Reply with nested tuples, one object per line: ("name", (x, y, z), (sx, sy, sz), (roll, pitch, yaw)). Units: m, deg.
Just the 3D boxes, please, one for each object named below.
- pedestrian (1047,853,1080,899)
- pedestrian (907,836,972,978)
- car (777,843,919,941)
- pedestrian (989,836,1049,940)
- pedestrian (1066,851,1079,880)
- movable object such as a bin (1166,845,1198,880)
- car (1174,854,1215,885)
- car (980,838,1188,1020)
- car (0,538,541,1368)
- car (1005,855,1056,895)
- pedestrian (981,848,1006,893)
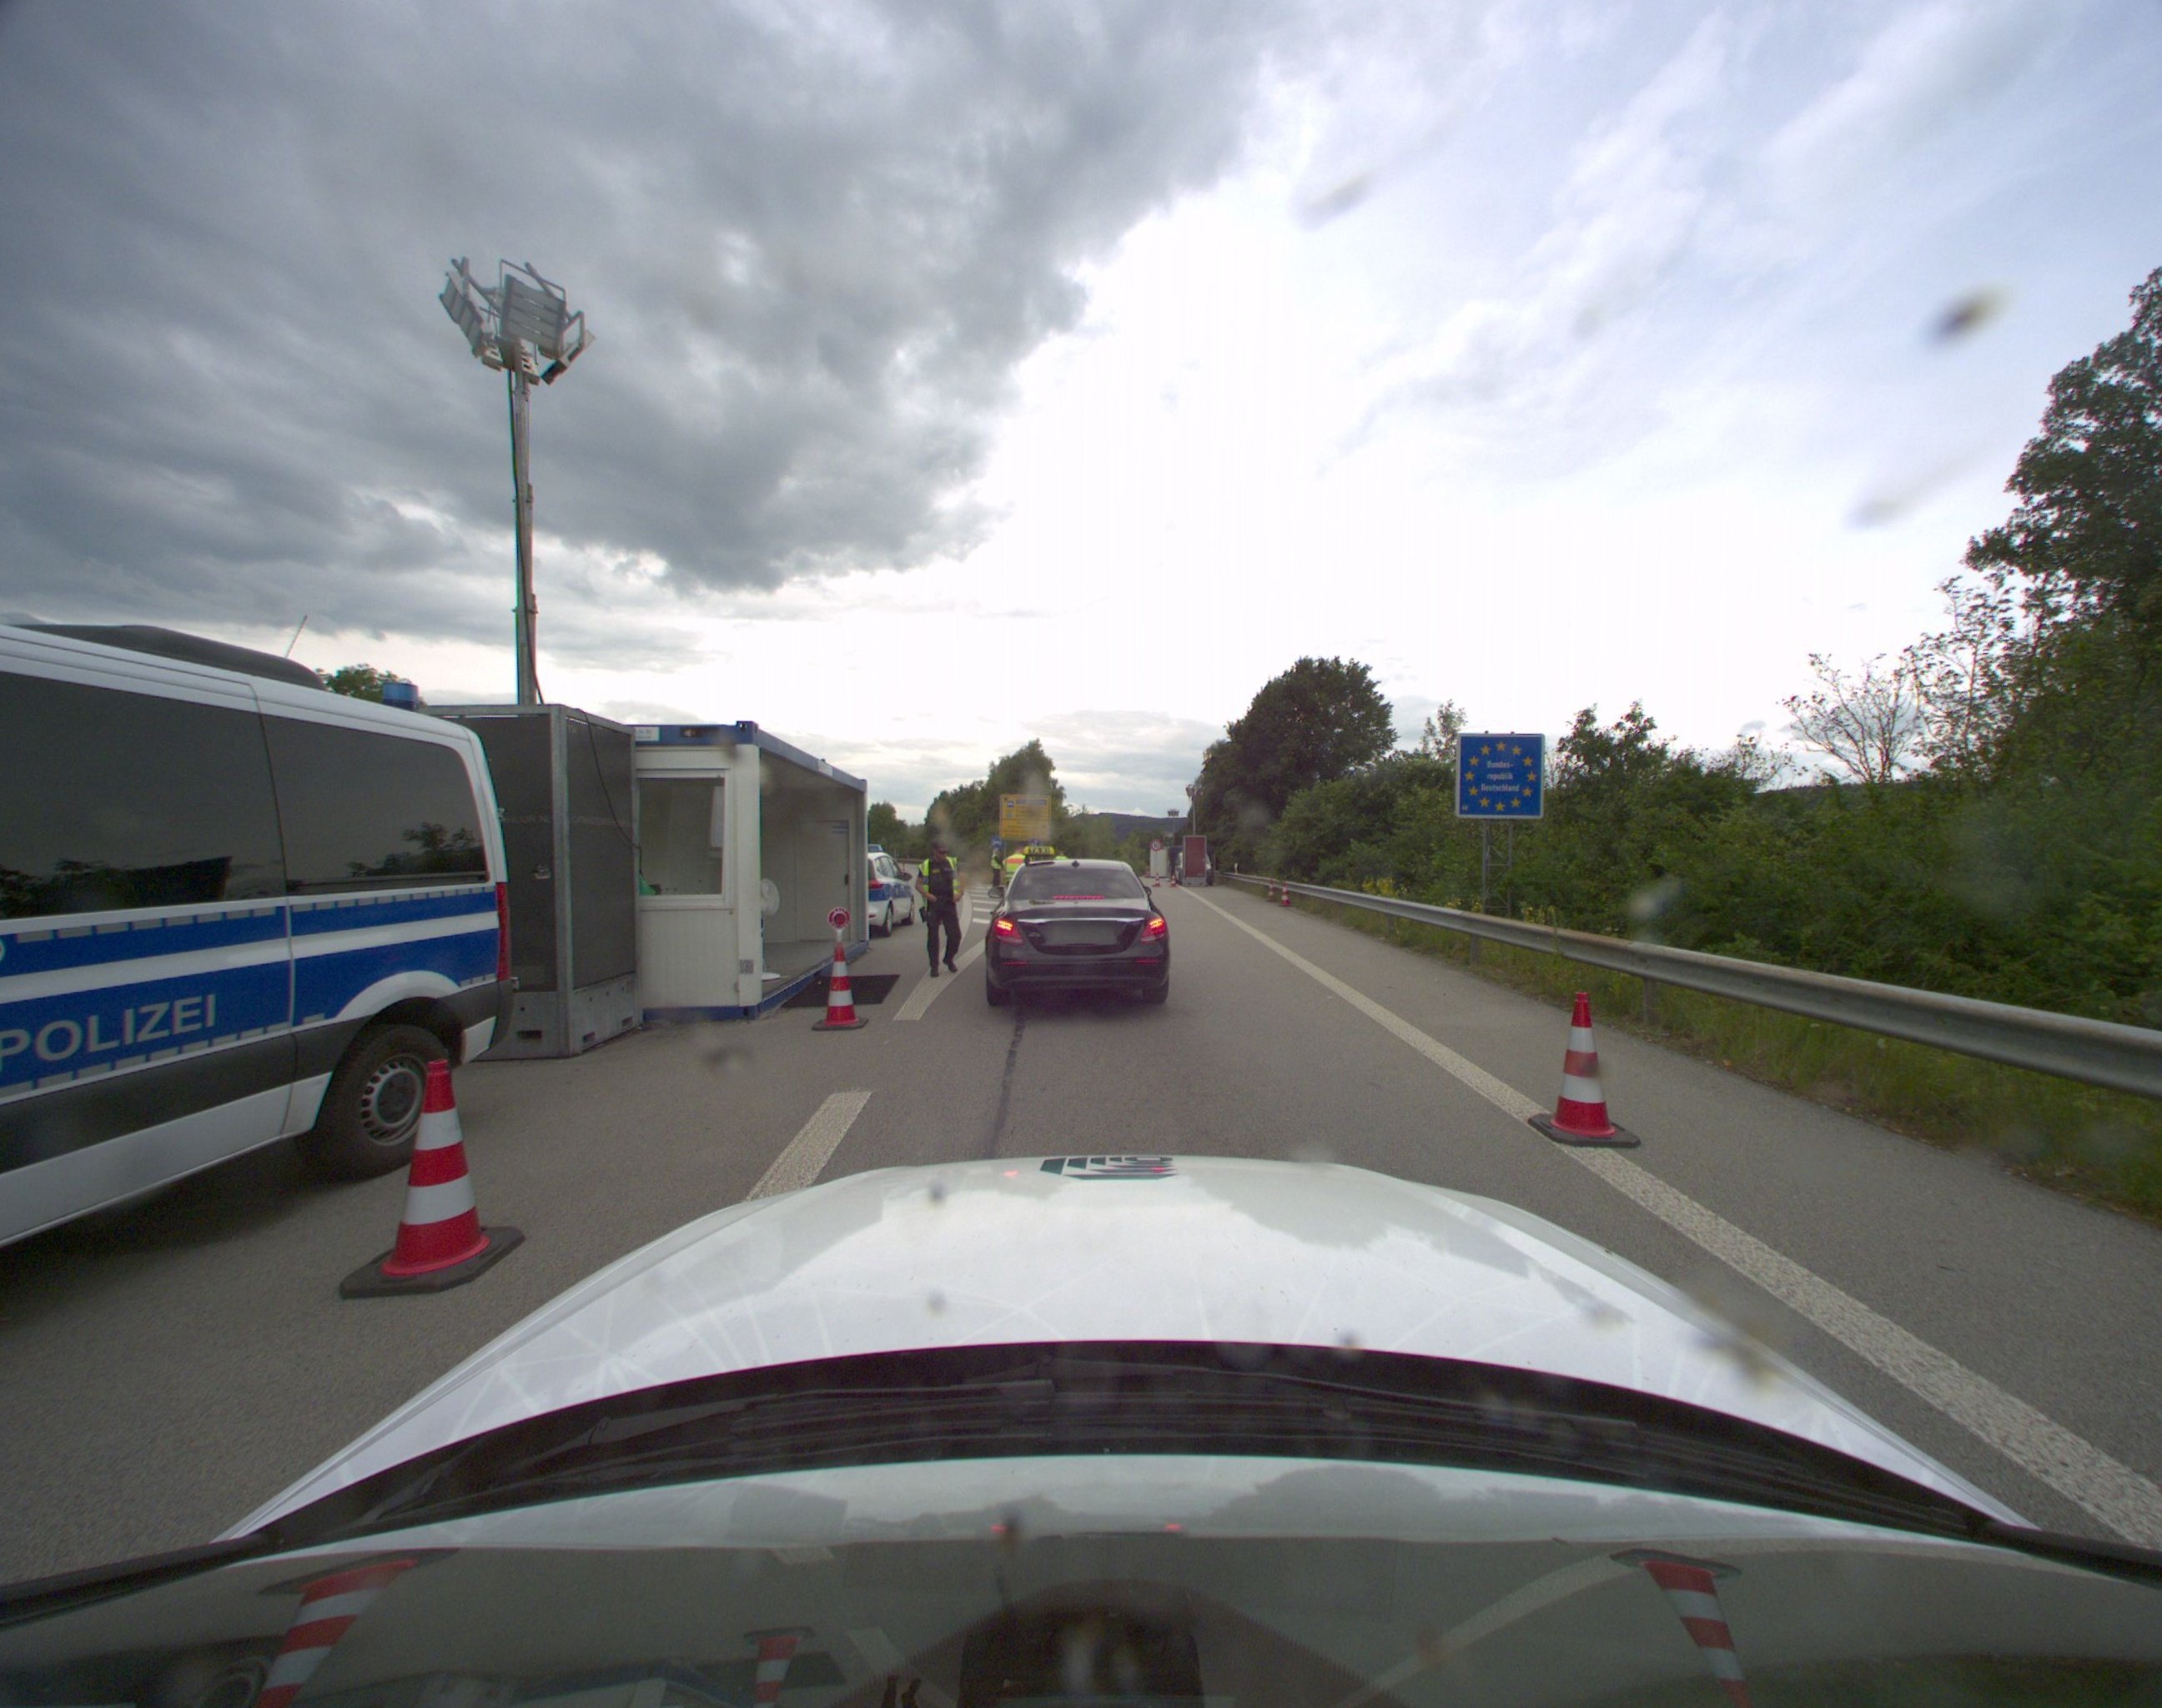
("pedestrian", (-0.653, 0.828, 30.789), (0.914, 1.698, 0.905), (0, -1, -30))
("pedestrian", (-1.794, 0.650, 10.391), (0.760, 1.718, 0.815), (-1, -1, -9))
("car", (-4.562, 0.681, 16.586), (1.864, 1.743, 4.004), (-1, 0, -2))
("pedestrian", (-1.119, 0.606, 14.884), (0.806, 1.830, 0.813), (-1, -1, 18))
("pedestrian", (-0.561, 0.796, 55.768), (0.659, 1.961, 0.763), (-1, -1, 17))
("movable object such as a bin", (6.912, 0.565, 56.134), (1.985, 2.280, 4.172), (0, 0, 4))
("car", (6.524, 0.848, 47.292), (1.908, 1.678, 5.087), (1, 0, 3))
("car", (-0.084, 0.668, 9.465), (1.851, 1.595, 4.370), (-1, 0, -3))
("car", (-4.216, 0.300, 2.258), (2.024, 2.463, 5.275), (-1, 0, -2))
("car", (-1.949, 0.781, 32.424), (1.850, 1.498, 4.254), (-1, 0, -1))
("pedestrian", (-3.433, 0.640, 32.016), (0.908, 1.769, 0.911), (0, 0, -2))
